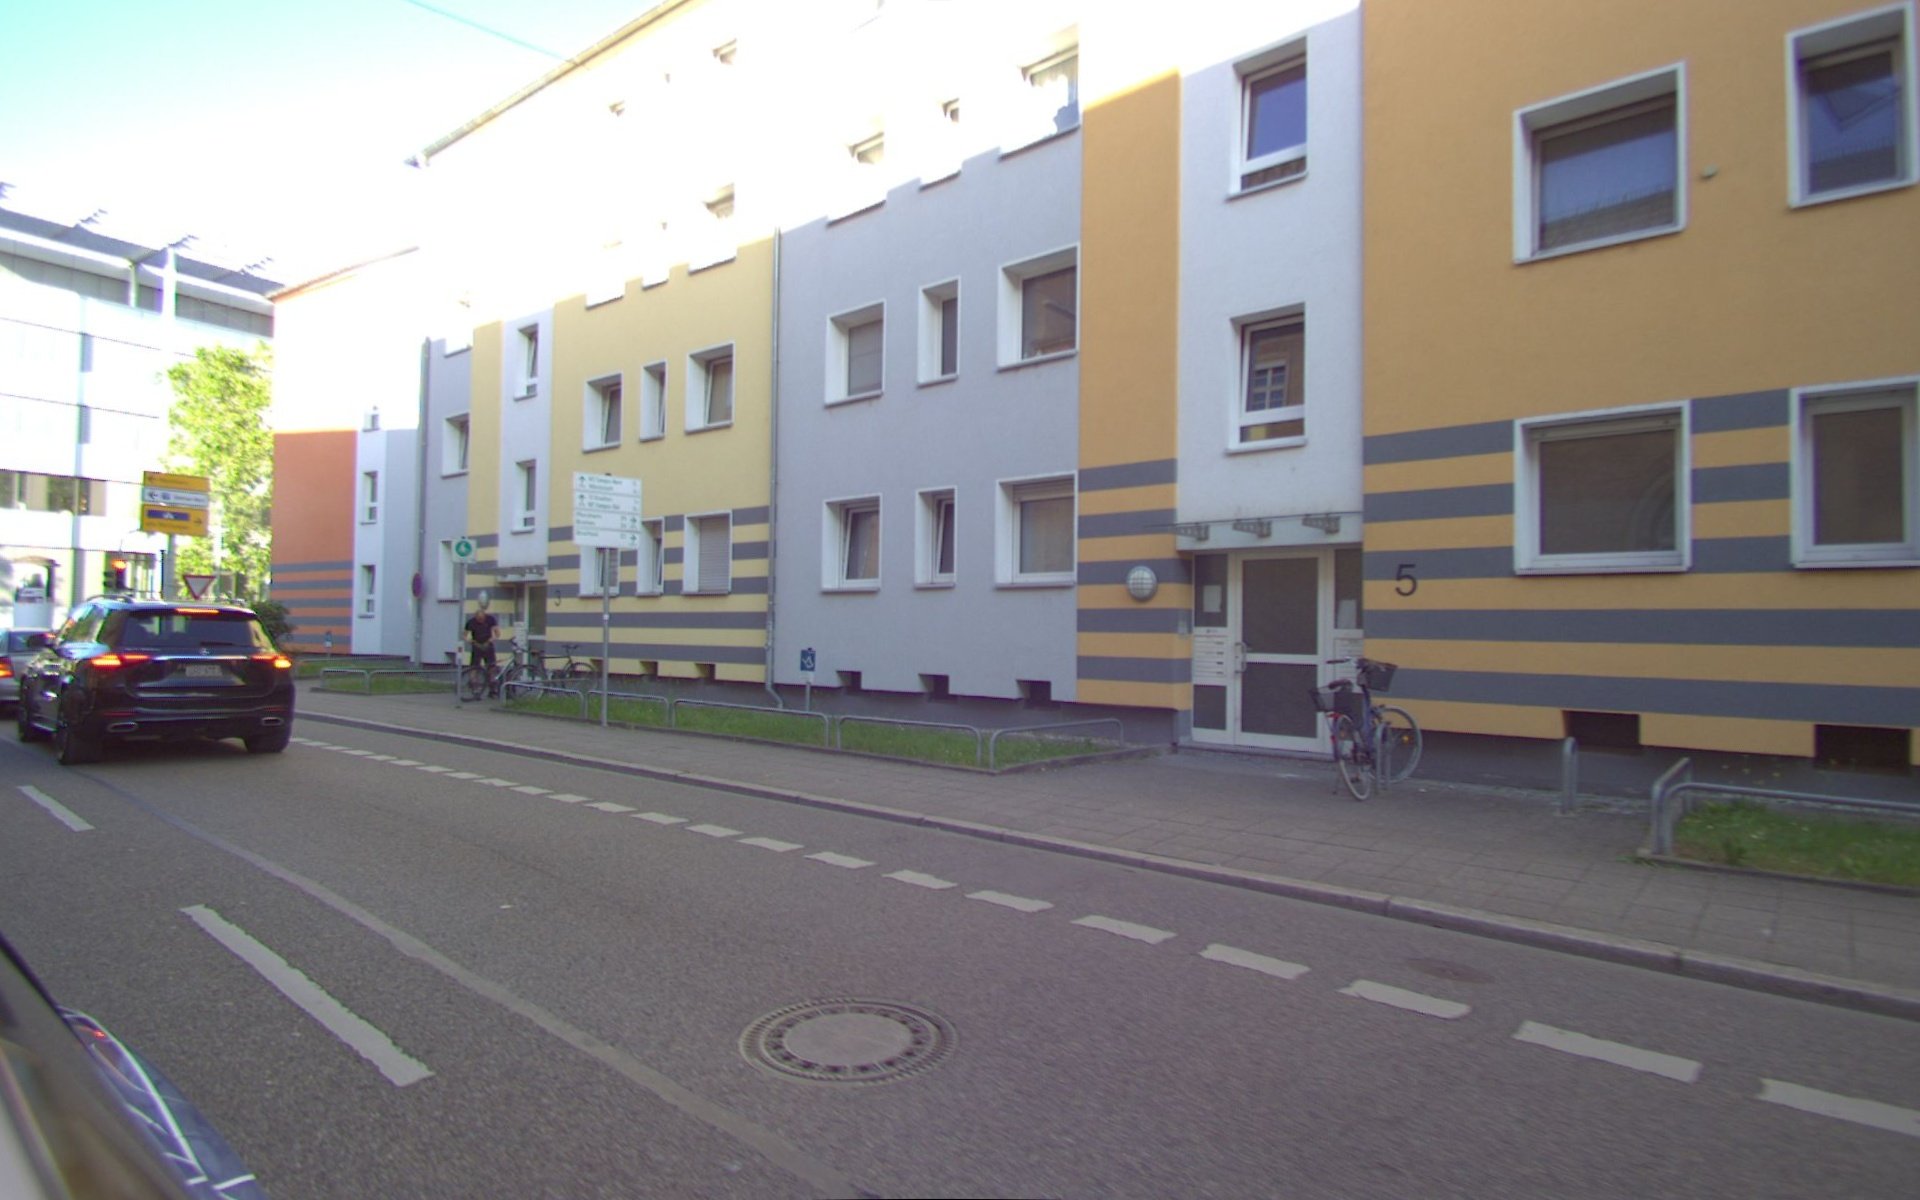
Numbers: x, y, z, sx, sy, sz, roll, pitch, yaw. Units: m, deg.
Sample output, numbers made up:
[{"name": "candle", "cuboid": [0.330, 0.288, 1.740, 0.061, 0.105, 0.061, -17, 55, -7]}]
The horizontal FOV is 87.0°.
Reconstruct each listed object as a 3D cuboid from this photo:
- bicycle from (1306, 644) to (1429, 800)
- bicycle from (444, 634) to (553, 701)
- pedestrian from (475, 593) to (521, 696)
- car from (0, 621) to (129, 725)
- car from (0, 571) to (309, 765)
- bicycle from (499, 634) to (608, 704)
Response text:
[{"name": "bicycle", "cuboid": [3.502, 0.969, 8.616, 0.649, 1.154, 1.737, -1, -2, 33]}, {"name": "bicycle", "cuboid": [-8.428, 1.207, 18.566, 0.649, 1.154, 1.737, -1, -2, 33]}, {"name": "pedestrian", "cuboid": [-8.628, 0.825, 18.892, 0.709, 1.869, 0.872, 1, -2, -28]}, {"name": "car", "cuboid": [-15.037, 1.107, 16.284, 4.132, 1.497, 1.724, -1, -4, 39]}, {"name": "car", "cuboid": [-9.730, 0.731, 12.026, 5.091, 1.849, 1.880, -1, -4, 40]}, {"name": "bicycle", "cuboid": [-7.169, 1.191, 17.928, 0.649, 1.154, 1.737, -1, -2, 33]}]
